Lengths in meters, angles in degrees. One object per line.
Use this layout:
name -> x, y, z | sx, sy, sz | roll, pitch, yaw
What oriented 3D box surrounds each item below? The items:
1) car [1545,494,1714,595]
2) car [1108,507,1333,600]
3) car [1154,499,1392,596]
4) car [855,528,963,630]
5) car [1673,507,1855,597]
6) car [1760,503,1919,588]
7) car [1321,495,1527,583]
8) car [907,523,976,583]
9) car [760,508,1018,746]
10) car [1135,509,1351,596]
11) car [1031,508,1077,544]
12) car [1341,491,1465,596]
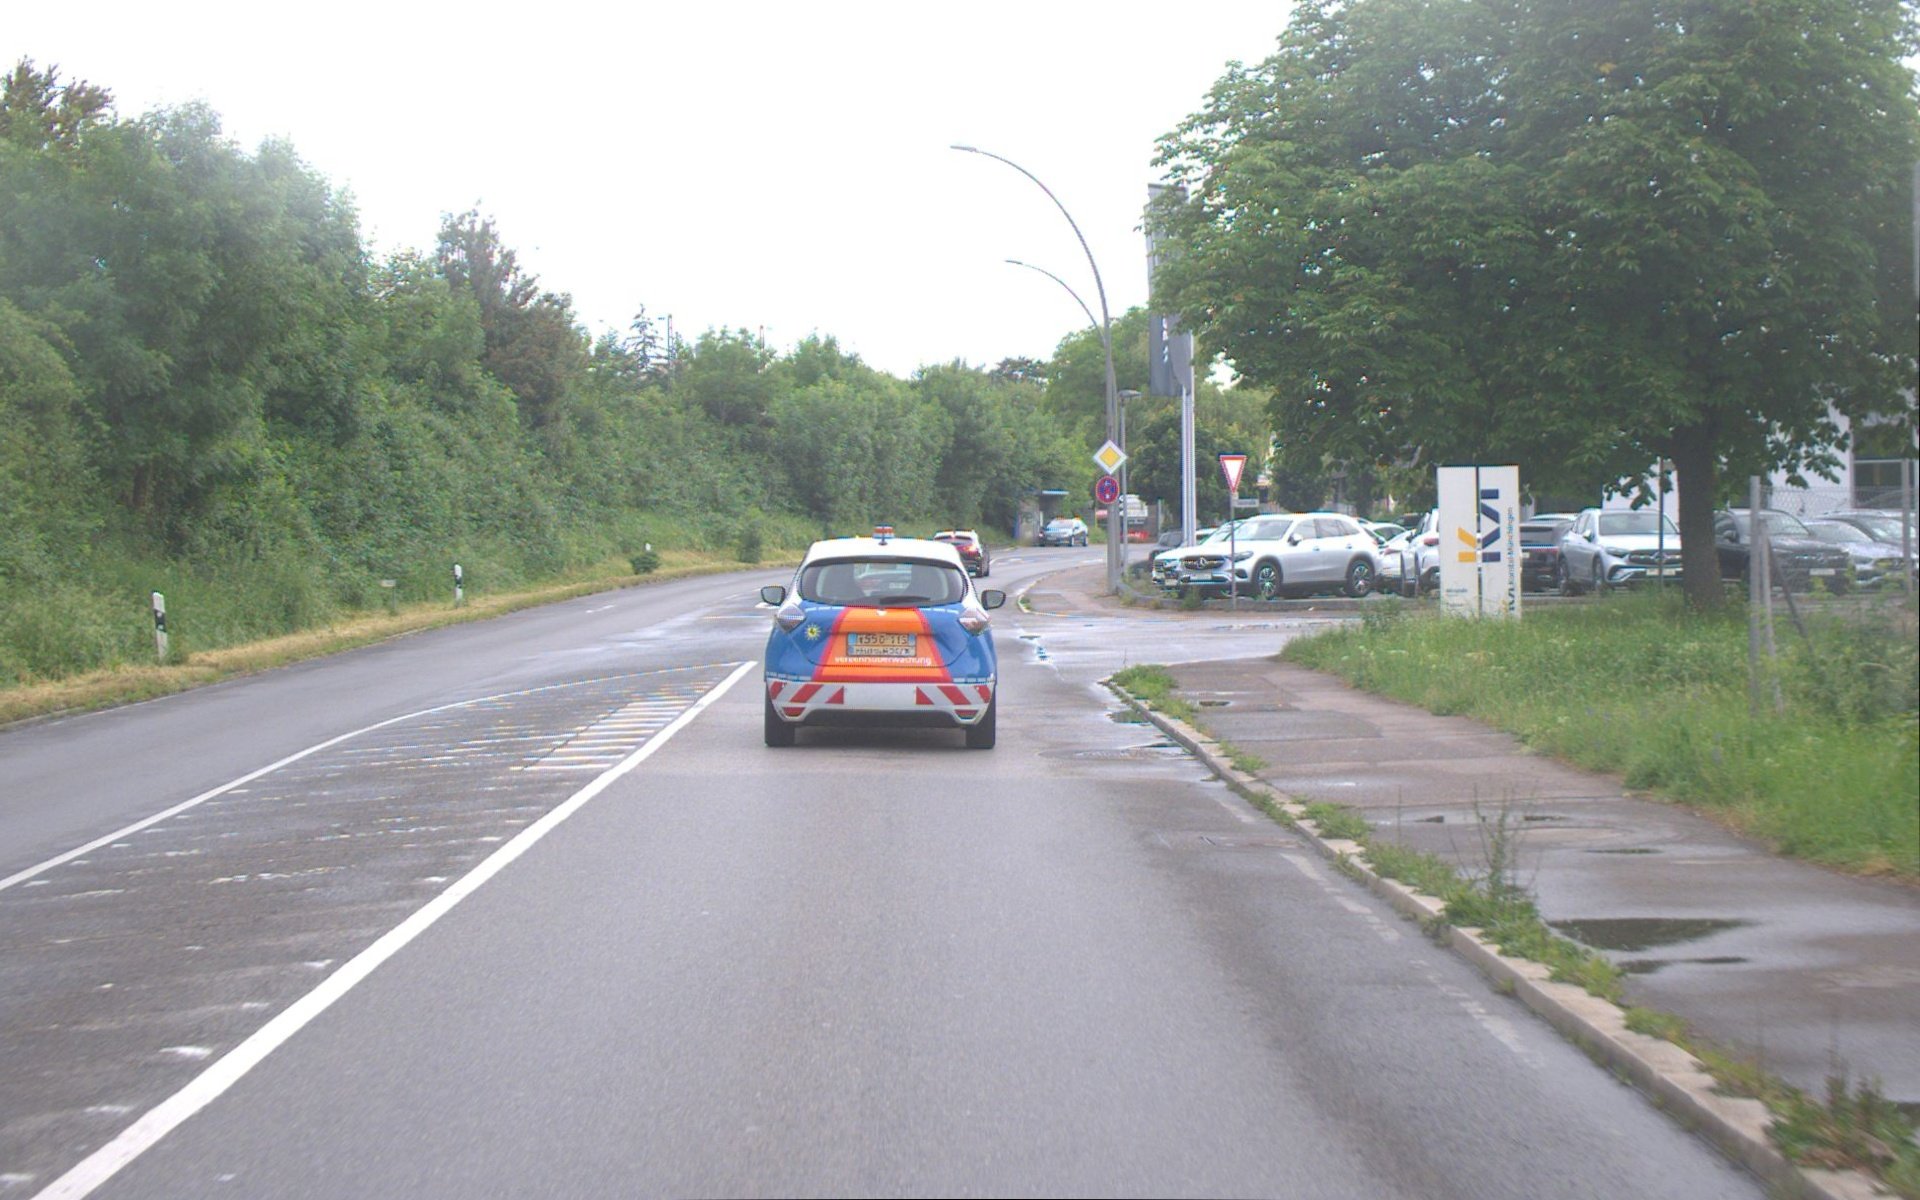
car -> 12.258, -1.003, 63.221 | 1.936, 1.745, 4.619 | 1, 1, -3
car -> 5.295, -0.905, 69.444 | 2.034, 1.745, 4.606 | -1, -1, 45
car -> 6.050, -0.996, 66.106 | 2.034, 1.745, 4.606 | 2, 1, 45
car -> -0.835, -0.355, 57.104 | 1.694, 1.590, 3.856 | 1, 1, -1
car -> 15.159, -0.907, 65.091 | 1.649, 1.597, 4.620 | 1, 1, -10
car -> 17.522, -1.060, 67.938 | 1.649, 1.597, 4.620 | 1, 1, -10
car -> 9.588, -1.279, 70.812 | 1.930, 1.745, 4.607 | 2, 2, 42
car -> -0.543, -1.433, 106.387 | 1.694, 1.784, 3.855 | 1, 1, 6
car -> -0.541, 0.174, 26.528 | 1.806, 1.662, 3.856 | 1, 1, -1
car -> 6.107, -0.995, 73.849 | 4.604, 1.745, 1.807 | 1, -1, -37
car -> 4.938, -3.879, 179.891 | 1.695, 1.784, 3.854 | 1, 1, 12
car -> 8.115, -1.019, 63.309 | 1.826, 1.823, 4.263 | 1, 1, 2
